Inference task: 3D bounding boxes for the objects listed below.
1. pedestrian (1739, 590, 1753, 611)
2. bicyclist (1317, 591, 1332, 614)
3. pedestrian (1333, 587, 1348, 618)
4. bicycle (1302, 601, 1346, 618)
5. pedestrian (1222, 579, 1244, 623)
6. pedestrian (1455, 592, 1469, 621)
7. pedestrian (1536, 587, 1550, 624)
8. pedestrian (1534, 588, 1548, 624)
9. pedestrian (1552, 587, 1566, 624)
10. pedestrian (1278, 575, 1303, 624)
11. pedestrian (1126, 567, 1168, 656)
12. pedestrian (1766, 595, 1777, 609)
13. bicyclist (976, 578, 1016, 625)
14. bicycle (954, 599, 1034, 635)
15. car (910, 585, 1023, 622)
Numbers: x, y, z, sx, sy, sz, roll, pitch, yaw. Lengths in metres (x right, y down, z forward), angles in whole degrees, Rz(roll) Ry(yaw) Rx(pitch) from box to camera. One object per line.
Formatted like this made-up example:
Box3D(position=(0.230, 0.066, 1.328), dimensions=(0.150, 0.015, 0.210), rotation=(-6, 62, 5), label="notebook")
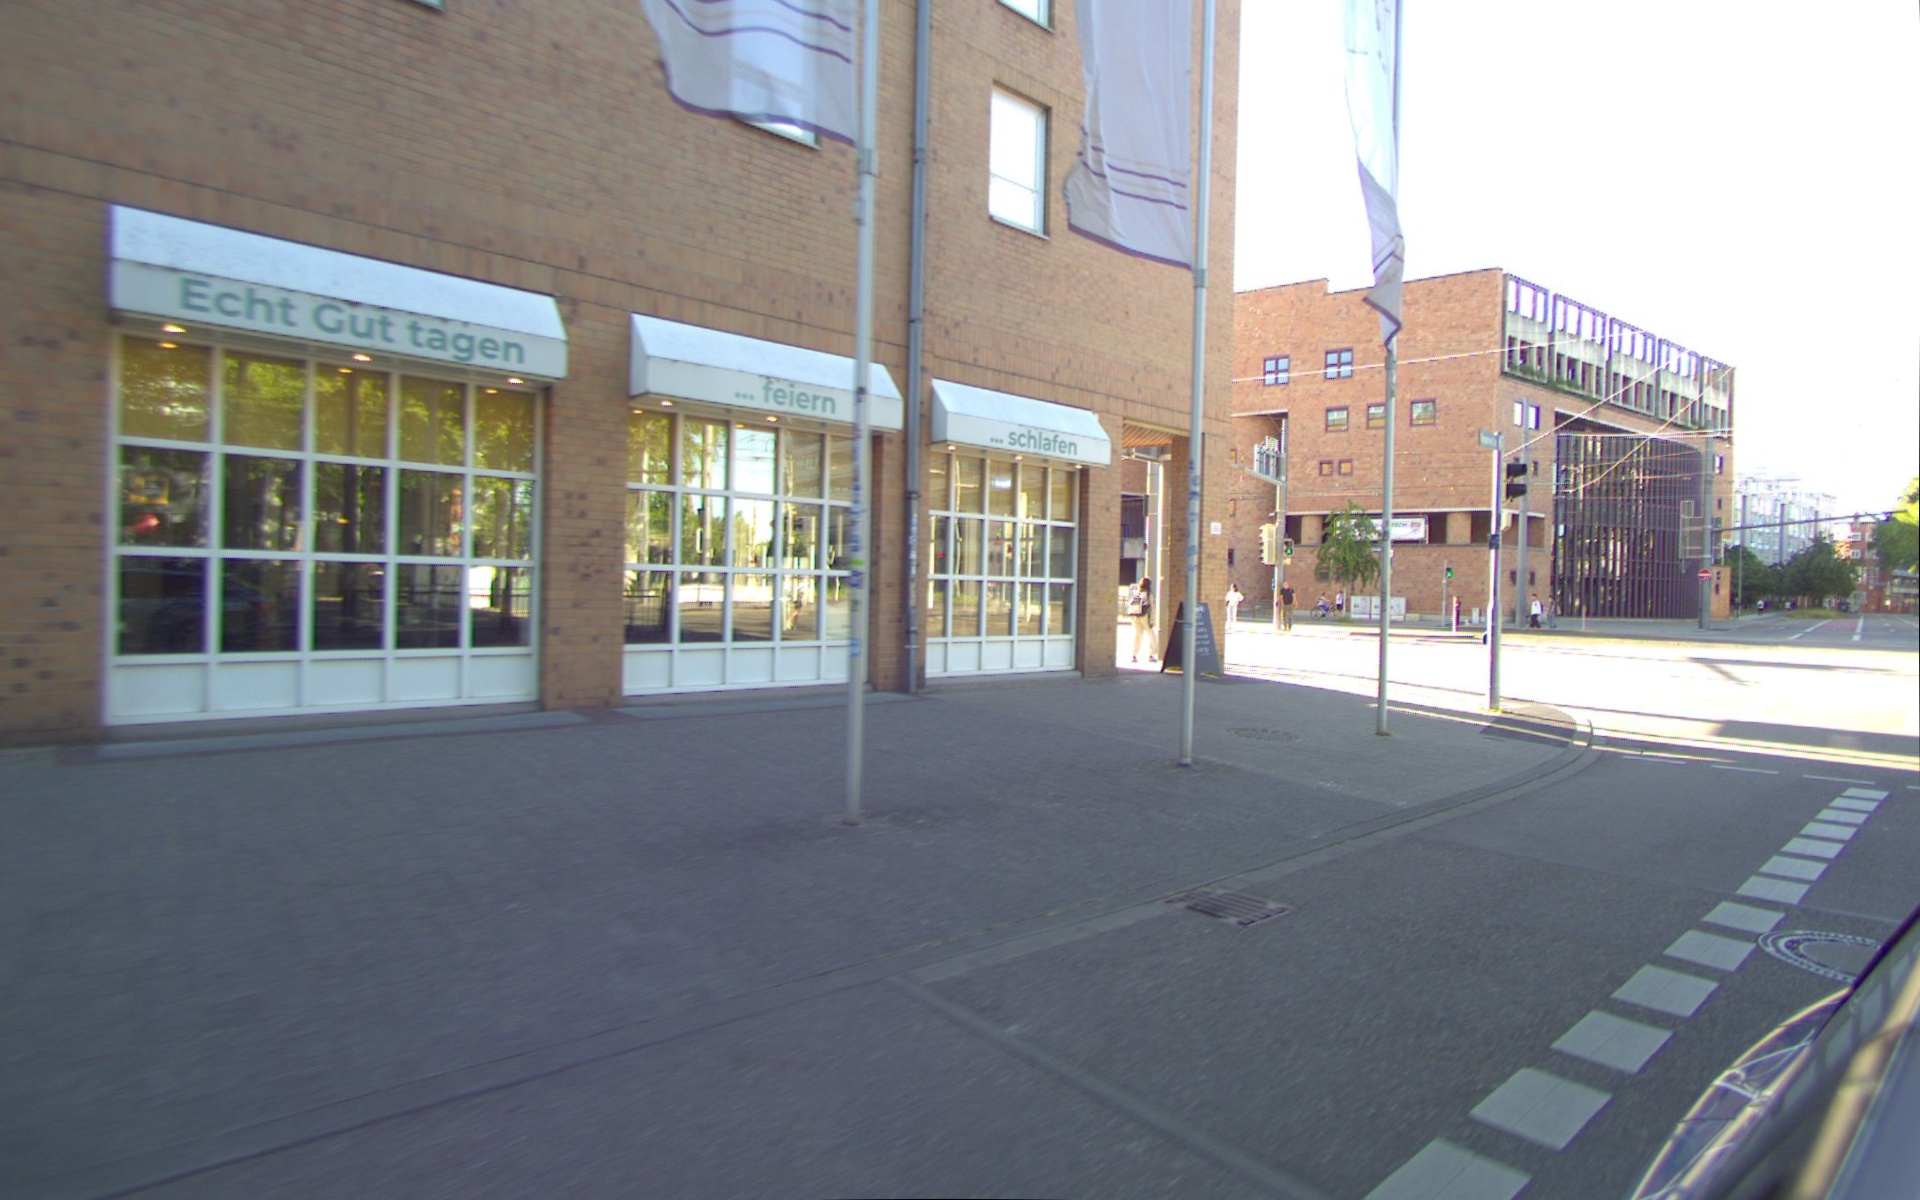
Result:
Box3D(position=(62.808, 0.032, 80.871), dimensions=(0.805, 1.626, 0.680), rotation=(2, 1, 29), label="pedestrian")
Box3D(position=(21.411, 0.137, 59.439), dimensions=(0.650, 1.356, 0.638), rotation=(1, 0, 43), label="bicyclist")
Box3D(position=(22.646, 0.138, 60.180), dimensions=(0.572, 1.808, 0.540), rotation=(5, 3, 44), label="pedestrian")
Box3D(position=(21.374, 0.558, 59.468), dimensions=(2.337, 0.916, 0.640), rotation=(2, 1, 43), label="bicycle")
Box3D(position=(10.016, 0.032, 37.126), dimensions=(0.641, 1.597, 0.576), rotation=(1, 0, 28), label="pedestrian")
Box3D(position=(26.517, 0.347, 53.442), dimensions=(0.567, 1.495, 0.545), rotation=(2, 1, 24), label="pedestrian")
Box3D(position=(28.904, 0.278, 50.168), dimensions=(0.545, 1.808, 0.566), rotation=(1, 1, 34), label="pedestrian")
Box3D(position=(29.707, 0.280, 51.743), dimensions=(0.545, 1.808, 0.566), rotation=(1, 1, 34), label="pedestrian")
Box3D(position=(30.168, 0.268, 50.994), dimensions=(0.545, 1.808, 0.566), rotation=(1, 1, 34), label="pedestrian")
Box3D(position=(11.899, -0.029, 36.411), dimensions=(0.592, 1.748, 0.712), rotation=(1, 1, 42), label="pedestrian")
Box3D(position=(3.654, 0.218, 19.787), dimensions=(0.729, 1.686, 0.751), rotation=(1, 1, 8), label="pedestrian")
Box3D(position=(79.825, 0.190, 99.558), dimensions=(0.810, 1.401, 0.676), rotation=(2, 1, 44), label="pedestrian")
Box3D(position=(1.108, 0.023, 30.944), dimensions=(0.921, 1.394, 0.800), rotation=(2, 1, 40), label="bicyclist")
Box3D(position=(1.019, 0.501, 31.022), dimensions=(2.498, 1.003, 0.800), rotation=(2, 2, 41), label="bicycle")
Box3D(position=(0.219, 0.090, 39.273), dimensions=(4.210, 1.284, 1.819), rotation=(2, 3, 40), label="car")
